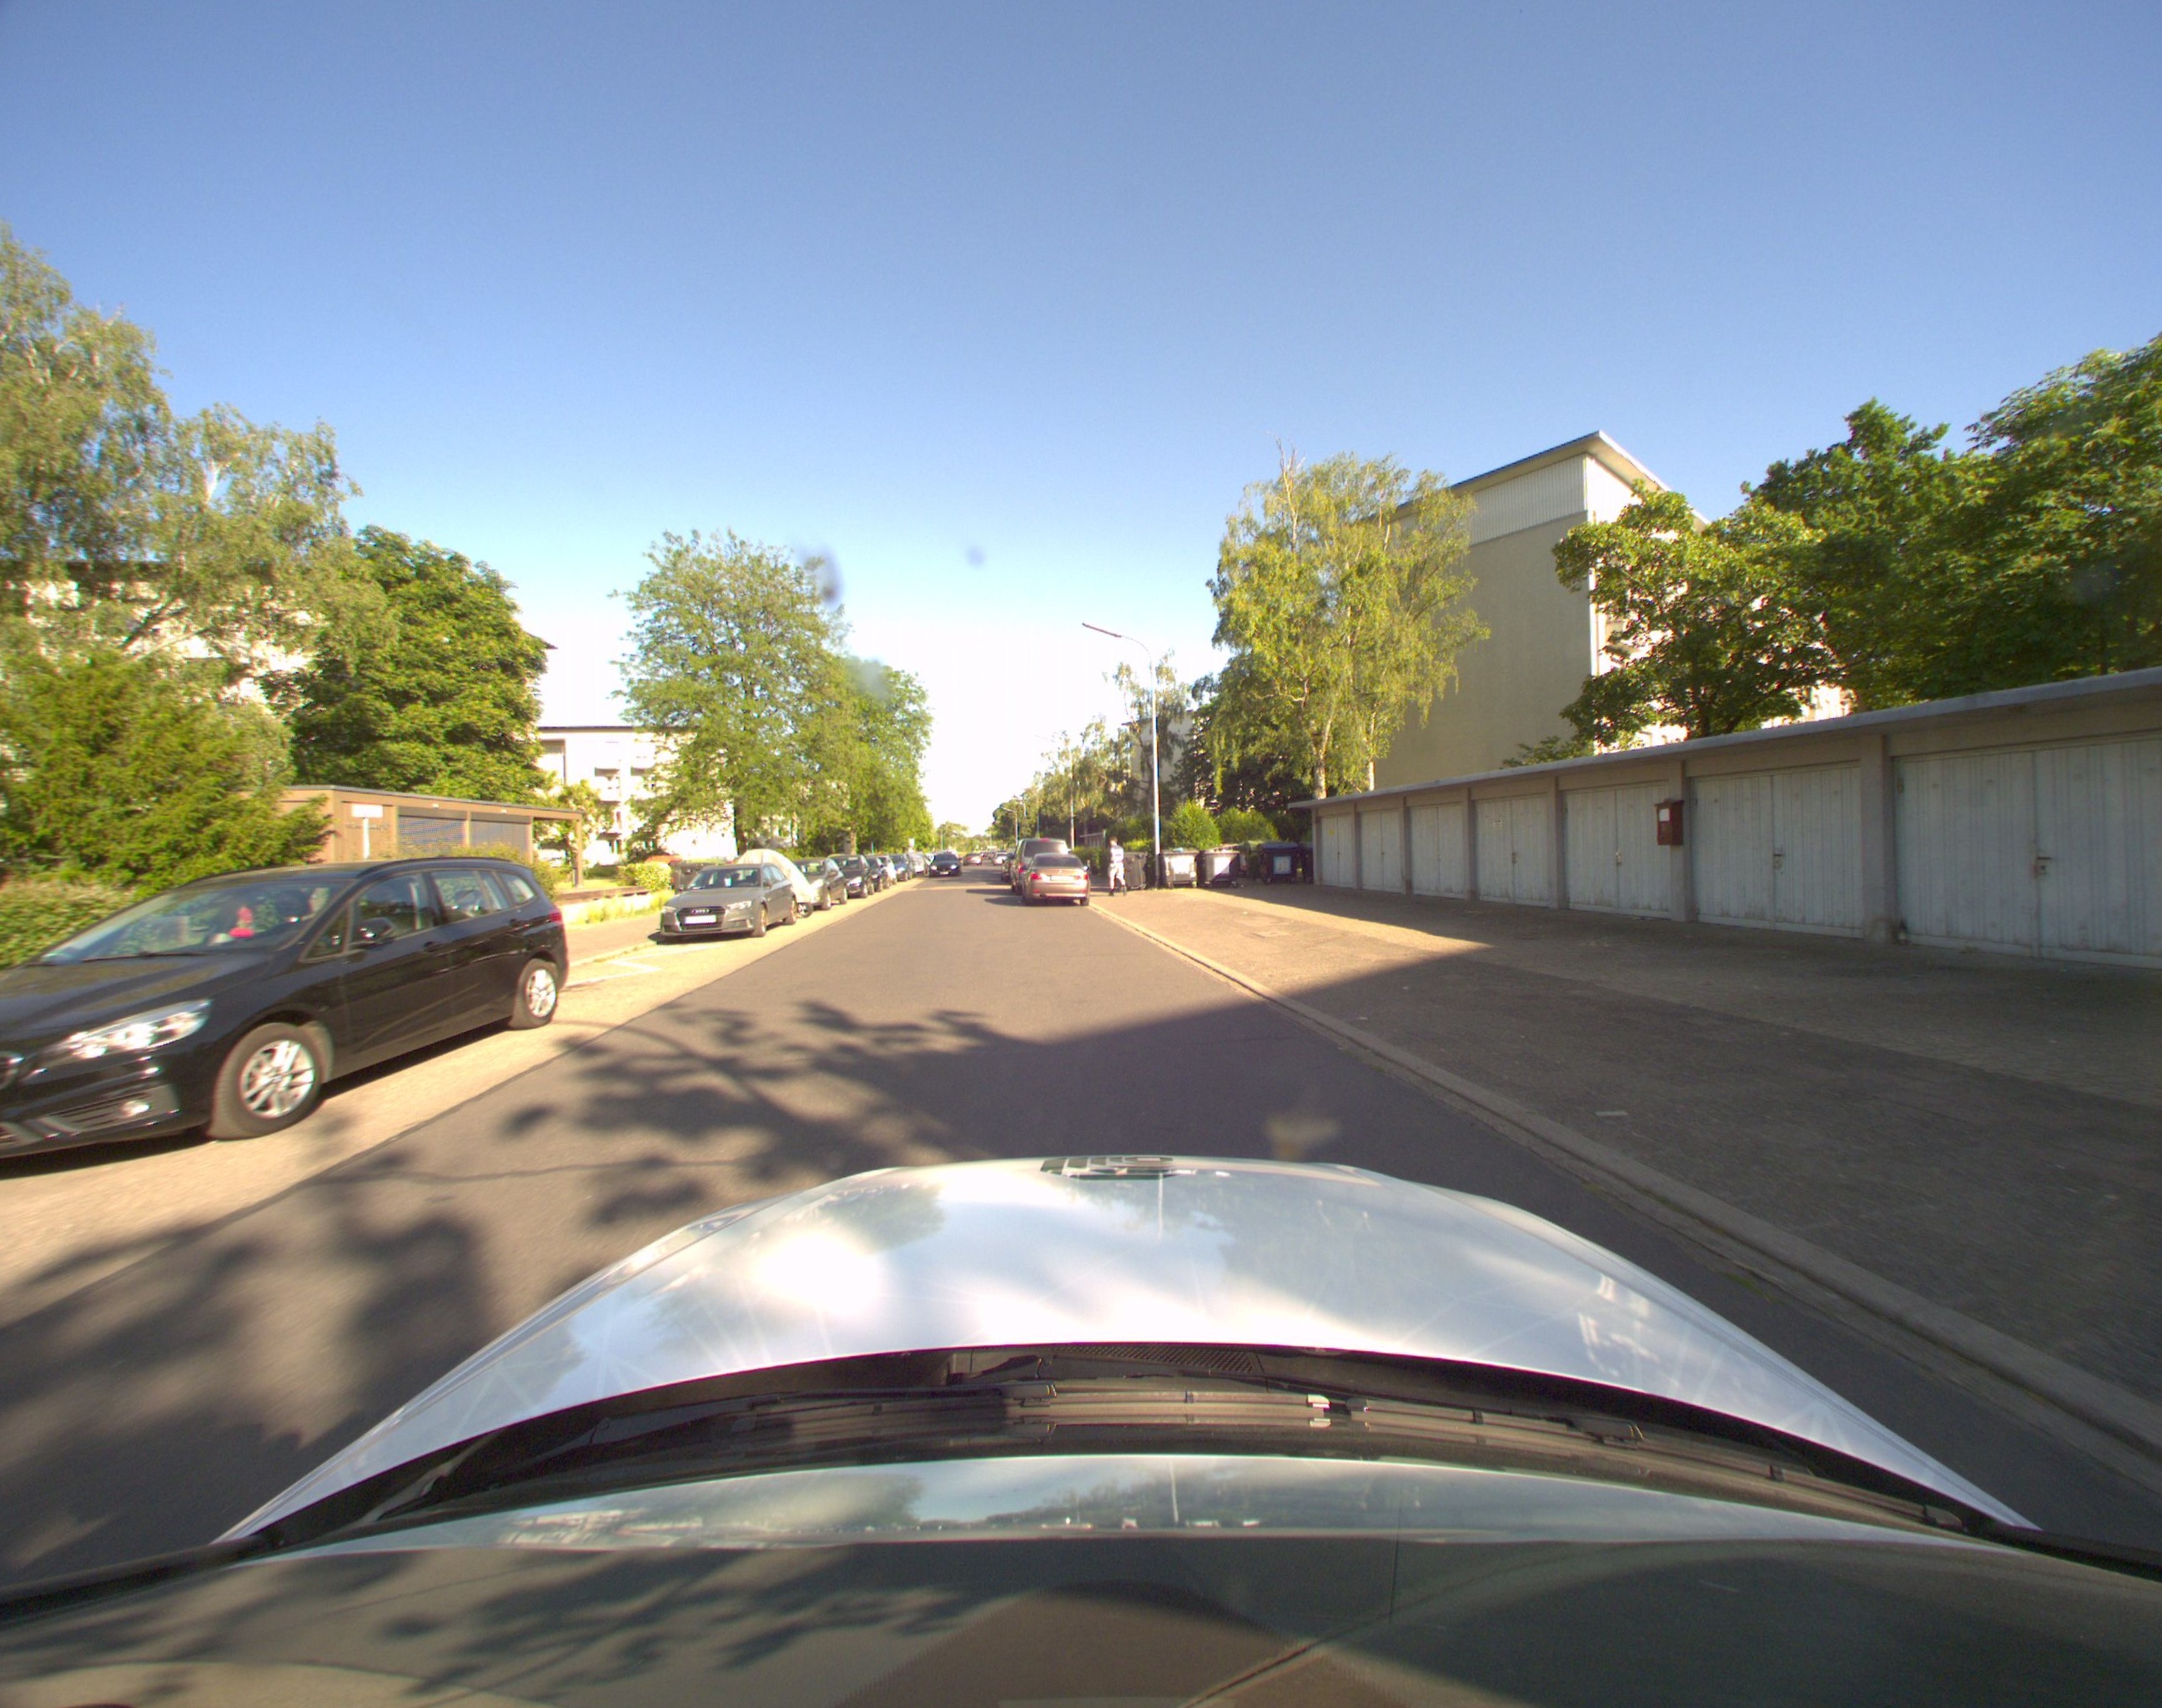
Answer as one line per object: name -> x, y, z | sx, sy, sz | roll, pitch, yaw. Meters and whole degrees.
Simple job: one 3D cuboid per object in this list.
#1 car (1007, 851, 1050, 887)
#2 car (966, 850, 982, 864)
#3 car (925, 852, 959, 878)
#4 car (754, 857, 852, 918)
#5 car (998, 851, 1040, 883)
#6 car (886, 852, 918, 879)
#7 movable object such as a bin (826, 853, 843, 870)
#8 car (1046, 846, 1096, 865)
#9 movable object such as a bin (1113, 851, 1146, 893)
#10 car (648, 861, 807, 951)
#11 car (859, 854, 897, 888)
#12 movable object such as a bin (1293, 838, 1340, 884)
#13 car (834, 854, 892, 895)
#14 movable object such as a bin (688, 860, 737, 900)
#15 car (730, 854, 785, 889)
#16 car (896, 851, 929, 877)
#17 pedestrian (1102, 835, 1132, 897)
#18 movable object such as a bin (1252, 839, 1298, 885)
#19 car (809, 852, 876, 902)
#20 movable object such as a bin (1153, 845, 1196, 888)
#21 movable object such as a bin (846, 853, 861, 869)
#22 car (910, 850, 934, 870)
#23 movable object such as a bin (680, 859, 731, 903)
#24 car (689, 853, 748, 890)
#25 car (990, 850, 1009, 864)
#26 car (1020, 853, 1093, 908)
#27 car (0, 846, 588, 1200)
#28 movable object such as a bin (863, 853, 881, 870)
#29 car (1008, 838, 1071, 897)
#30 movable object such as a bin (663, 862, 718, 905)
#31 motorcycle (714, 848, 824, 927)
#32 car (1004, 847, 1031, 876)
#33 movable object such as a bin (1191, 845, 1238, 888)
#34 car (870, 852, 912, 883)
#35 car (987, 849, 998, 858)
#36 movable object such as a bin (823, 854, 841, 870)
car -> -2.383, 0.628, 36.281 | 1.622, 1.490, 4.025 | 0, 0, -8
car -> -11.688, 0.302, 88.760 | 1.679, 1.513, 4.091 | 0, 0, -10
car -> -8.711, 0.658, 51.357 | 1.909, 1.476, 4.559 | -2, 1, -8
car -> -7.976, 0.894, 23.747 | 1.752, 1.480, 3.951 | -4, 1, -6
car -> -3.240, 0.620, 41.901 | 1.732, 1.489, 4.486 | -3, 1, -10
car -> -11.290, 0.688, 51.549 | 1.635, 1.606, 3.525 | -3, 1, -8
movable object such as a bin -> -22.271, 0.671, 73.637 | 1.176, 1.420, 1.460 | 1, 0, -5
car -> -0.967, 0.117, 75.053 | 4.411, 1.513, 1.824 | -3, 1, -7
movable object such as a bin -> 1.677, 0.600, 28.241 | 1.022, 1.310, 1.388 | -5, 1, 3
car -> -7.001, 0.935, 16.615 | 1.753, 1.420, 4.258 | -4, 1, -7
car -> -10.227, 0.816, 41.121 | 1.444, 1.574, 3.133 | -4, 1, -8
movable object such as a bin -> 8.170, 0.240, 28.299 | 1.274, 1.465, 1.132 | -2, 4, -4
car -> -9.224, 0.821, 34.790 | 1.753, 1.480, 4.524 | -4, 1, -8
movable object such as a bin -> -13.146, 0.919, 29.105 | 1.176, 1.340, 1.340 | -1, 0, -6
car -> -15.198, 0.762, 38.431 | 1.570, 1.525, 3.987 | -1, 0, -9
car -> -11.798, 0.672, 57.257 | 1.901, 1.639, 4.338 | -3, 1, -7
pedestrian -> 1.151, 0.379, 26.015 | 0.702, 1.888, 0.870 | -4, 0, -6
movable object such as a bin -> 6.764, 0.272, 28.440 | 1.274, 1.465, 1.132 | -2, 4, -4
car -> -8.639, 0.790, 29.769 | 1.754, 1.574, 3.709 | -4, 1, -9
movable object such as a bin -> 3.130, 0.413, 27.444 | 1.221, 1.365, 1.131 | -2, 0, -4
movable object such as a bin -> -21.184, 0.653, 75.900 | 1.133, 1.420, 1.358 | 1, 0, -6
car -> -13.105, 0.512, 67.007 | 1.665, 1.513, 3.521 | -3, 1, -13
movable object such as a bin -> -12.735, 0.895, 27.685 | 1.176, 1.408, 1.340 | -1, 0, -7
car -> -17.205, 0.801, 38.808 | 1.570, 1.641, 3.987 | -1, 0, -9
car -> -8.728, 0.295, 86.998 | 1.753, 1.513, 4.091 | 0, 0, -10
car -> -0.819, 0.691, 23.886 | 1.798, 1.418, 4.627 | -1, 0, -6
car -> -5.658, 0.827, 5.977 | 1.753, 1.635, 4.359 | -4, 1, -7
movable object such as a bin -> -16.624, 0.586, 64.739 | 1.135, 1.382, 1.439 | 1, 0, -6
car -> -1.578, 0.430, 29.388 | 1.851, 1.934, 4.692 | 0, 0, -8
movable object such as a bin -> -12.601, 0.932, 26.325 | 1.176, 1.288, 1.340 | -1, 0, -7
motorcycle -> -7.602, 0.796, 19.984 | 2.257, 1.726, 0.929 | -4, 1, -11
car -> -3.868, 0.423, 49.093 | 1.488, 1.718, 2.576 | 0, 0, -8
movable object such as a bin -> 4.454, 0.395, 27.232 | 1.274, 1.365, 1.131 | -2, 0, -4
car -> -10.817, 0.740, 46.609 | 1.752, 1.606, 3.960 | -4, 1, -6
car -> -16.189, -0.083, 148.635 | 1.796, 1.561, 3.939 | -1, 0, -10
movable object such as a bin -> -22.012, 0.681, 71.992 | 1.176, 1.420, 1.460 | 1, 0, -5
